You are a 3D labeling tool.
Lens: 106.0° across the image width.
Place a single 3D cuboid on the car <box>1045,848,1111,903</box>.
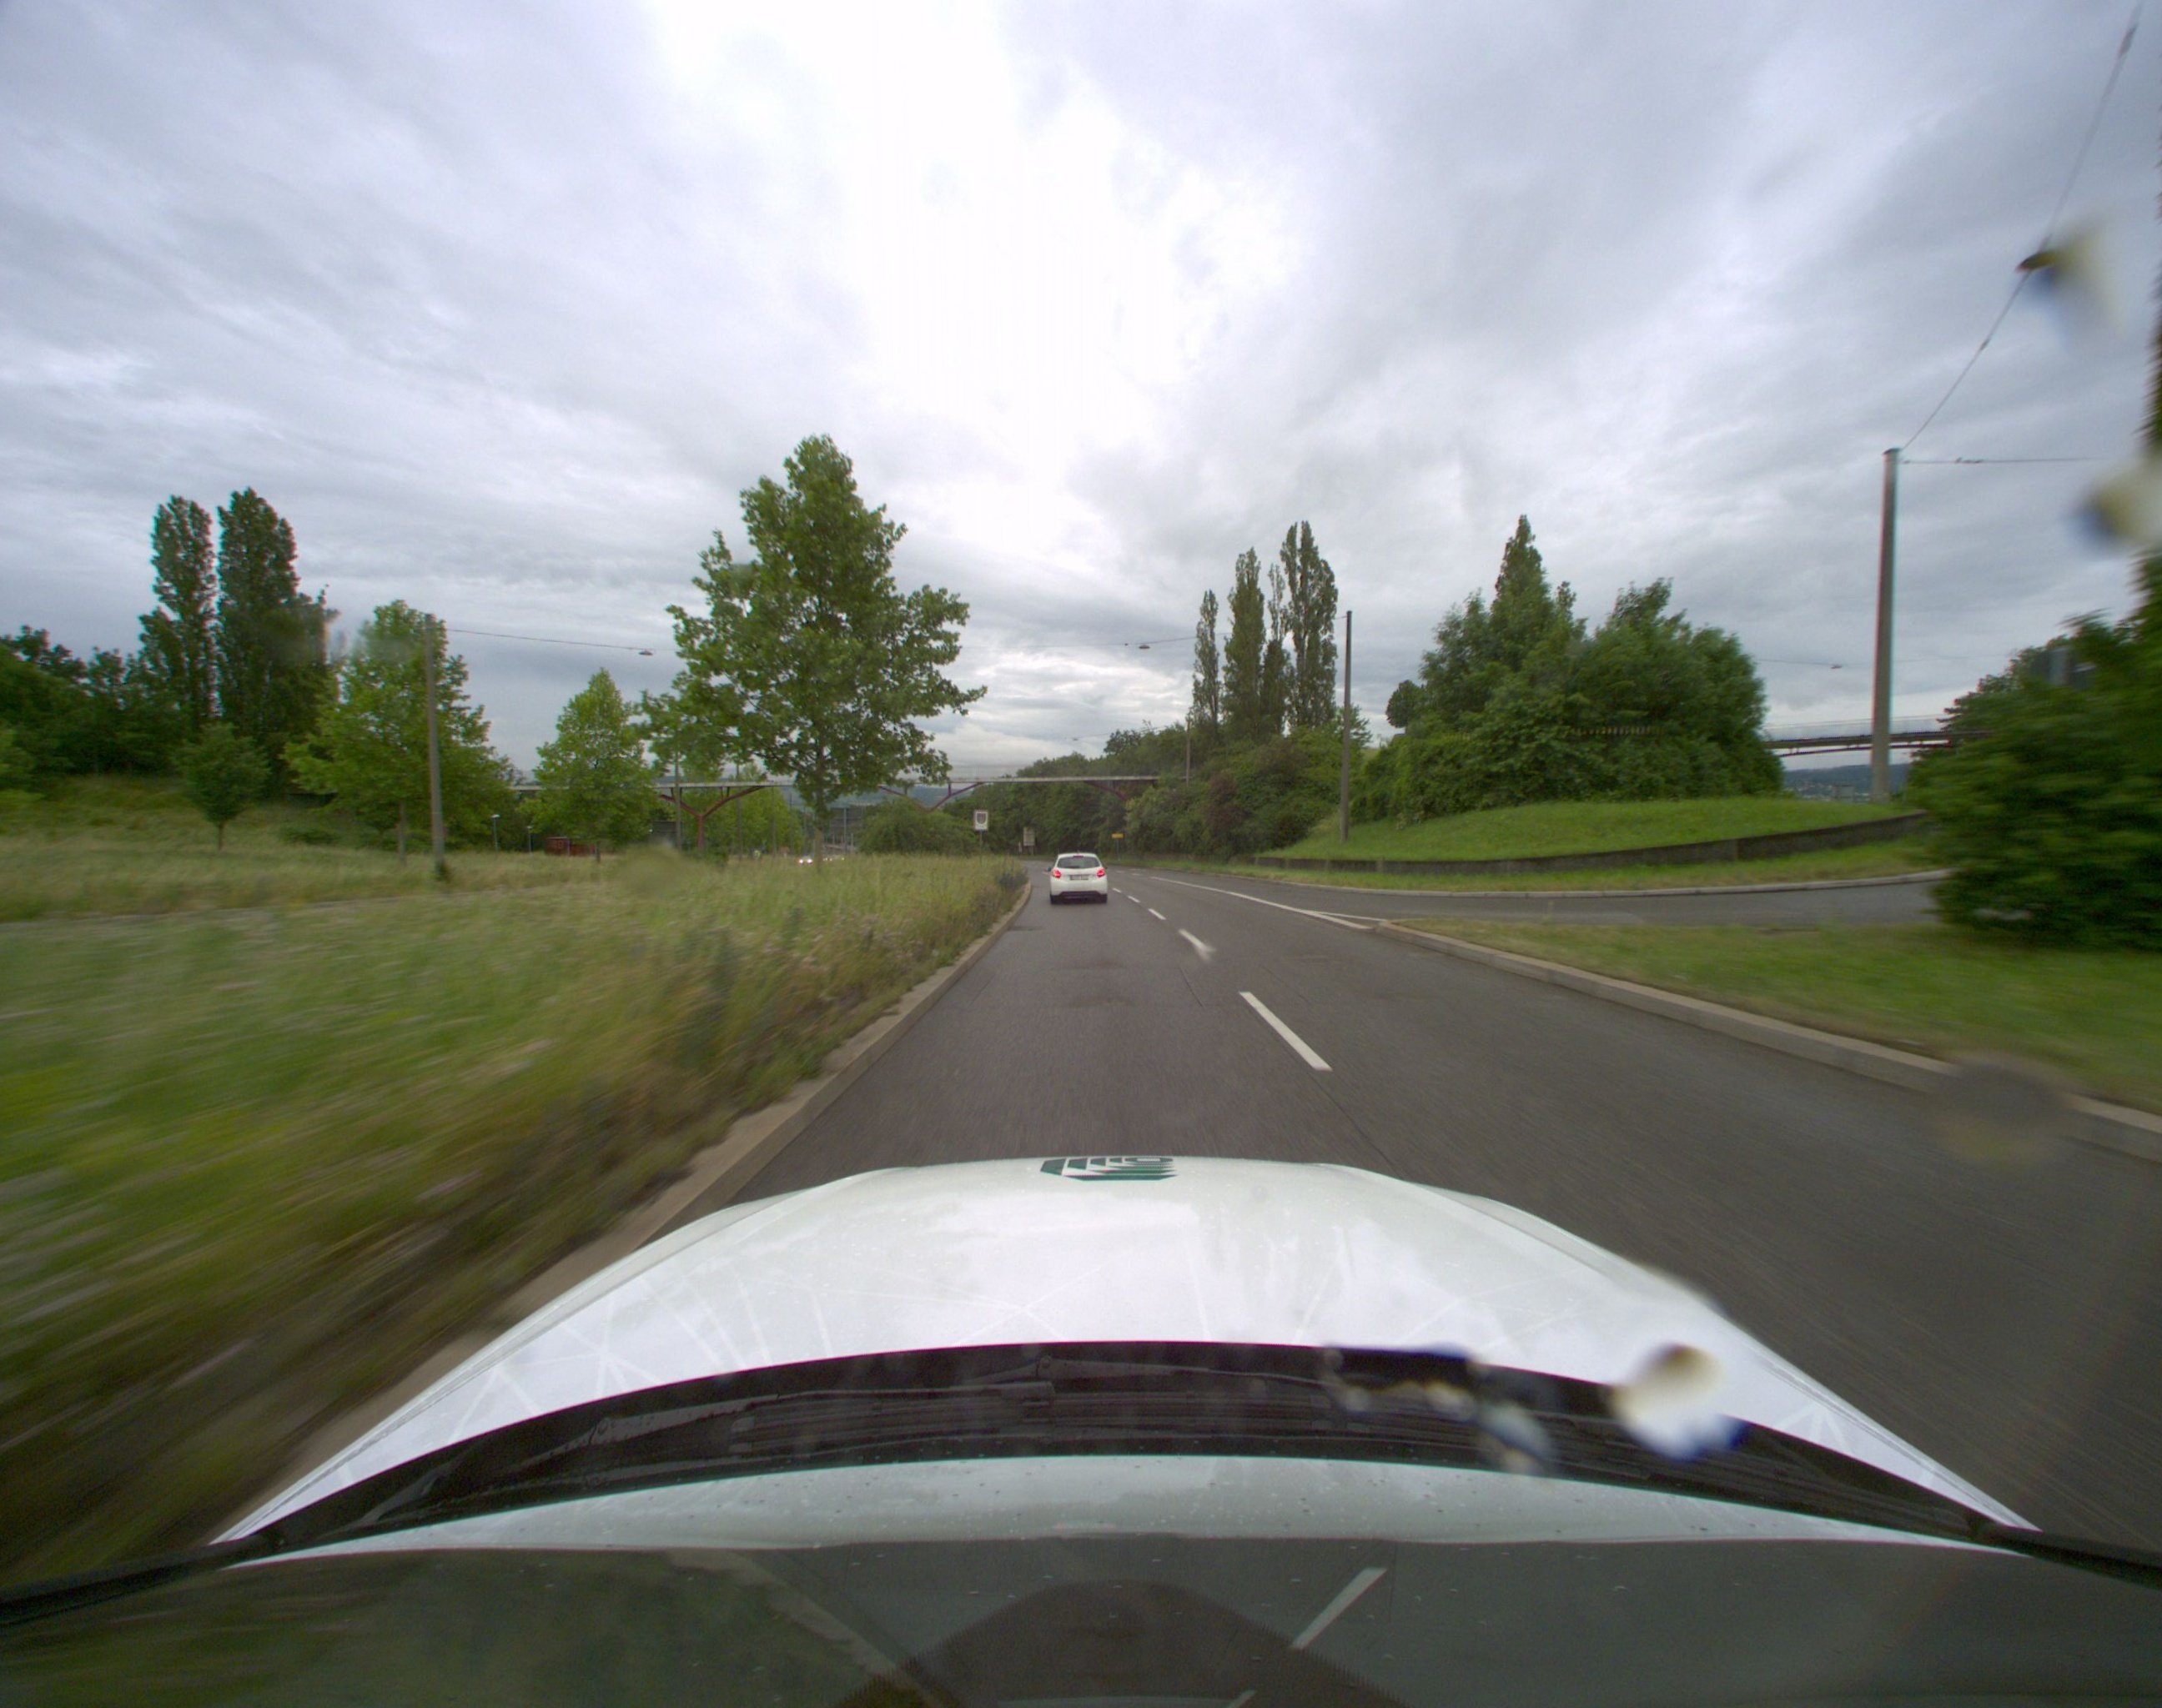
[{"bbox_3d":[-0.109,0.604,25.103,1.863,1.511,3.898,0,1,-1],"label":"car"}]
